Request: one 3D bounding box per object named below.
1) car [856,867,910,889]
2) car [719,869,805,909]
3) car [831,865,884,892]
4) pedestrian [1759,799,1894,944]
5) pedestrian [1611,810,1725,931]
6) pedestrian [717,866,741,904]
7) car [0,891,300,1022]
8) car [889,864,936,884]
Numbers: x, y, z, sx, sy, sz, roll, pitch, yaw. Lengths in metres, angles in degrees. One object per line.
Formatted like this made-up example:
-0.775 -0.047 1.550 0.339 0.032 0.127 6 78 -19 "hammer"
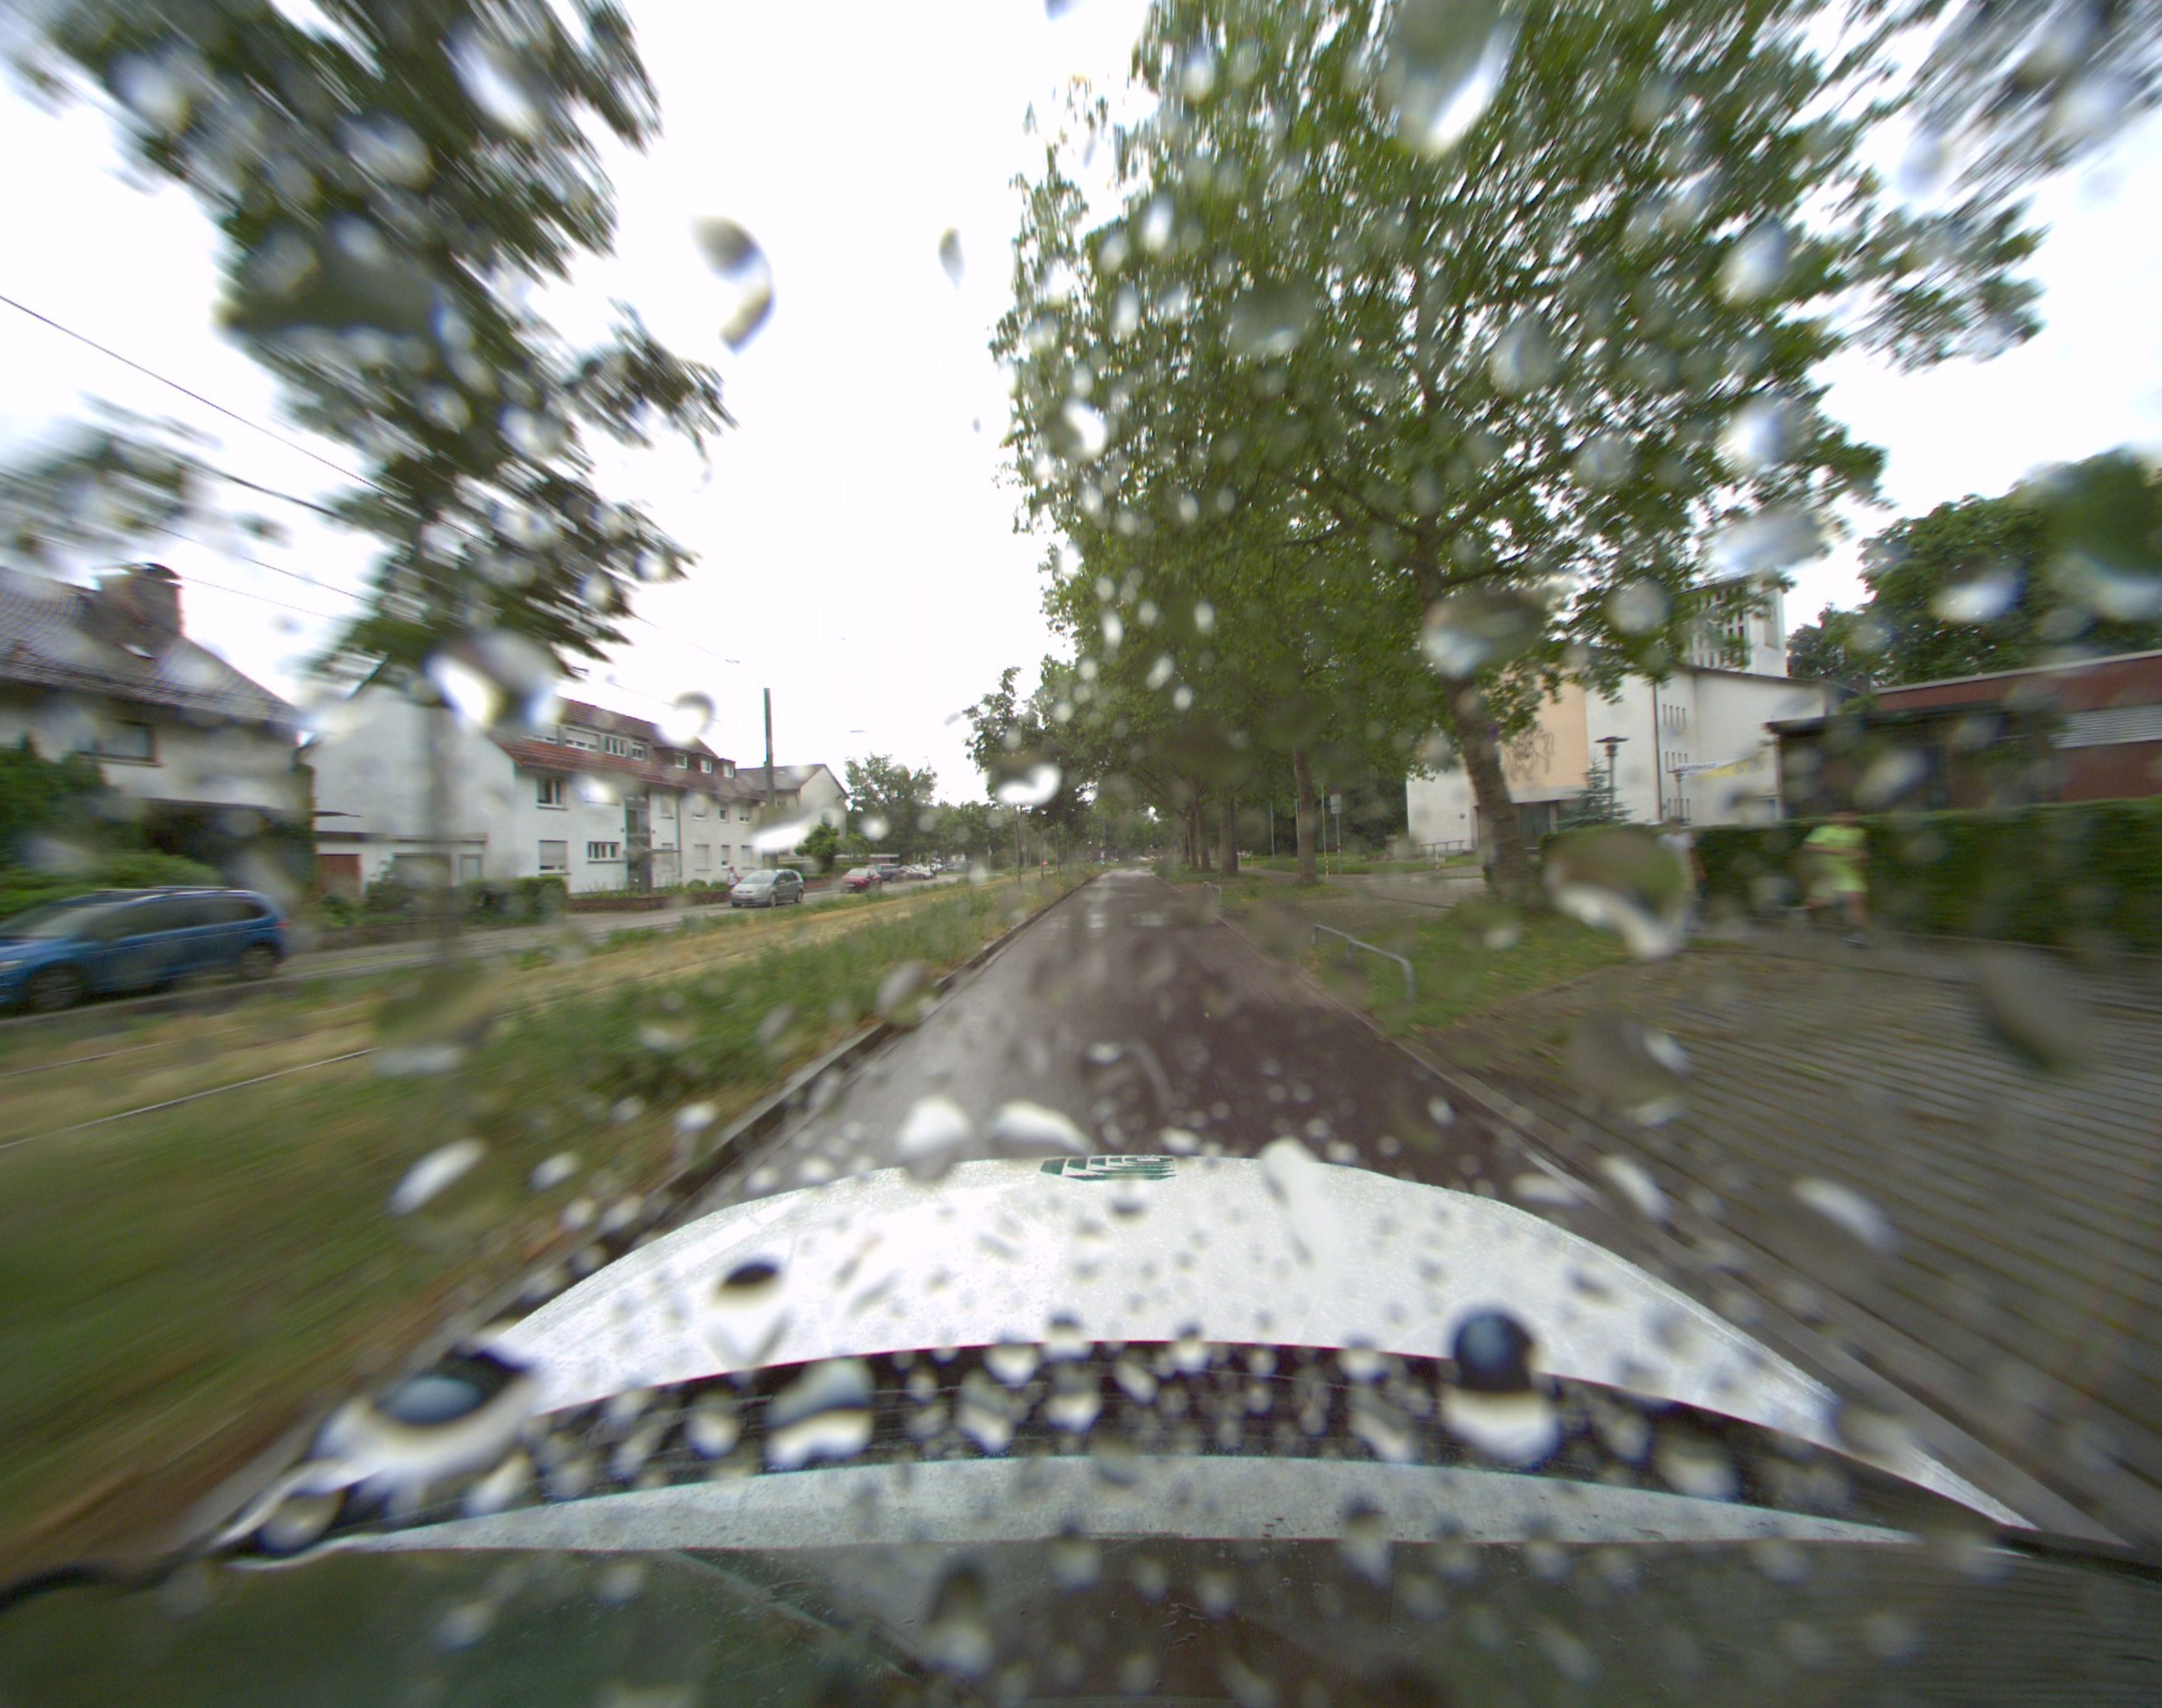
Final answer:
-16.900 2.005 69.584 3.974 1.616 2.000 -3 0 0 "car"
-14.365 1.550 36.963 1.986 1.581 4.519 -1 0 2 "car"
-13.870 1.485 50.795 1.986 1.488 4.207 -1 0 2 "car"
8.485 0.189 9.307 0.555 1.538 0.966 -3 -1 -3 "pedestrian"
7.991 0.218 11.123 0.831 1.538 0.859 -4 -1 -3 "pedestrian"
-17.043 1.503 39.433 0.699 1.755 0.855 -3 -1 3 "pedestrian"
-15.898 1.525 13.261 1.986 1.614 4.415 -1 0 2 "car"
-16.093 1.893 77.797 3.974 1.616 2.000 -3 0 0 "car"
